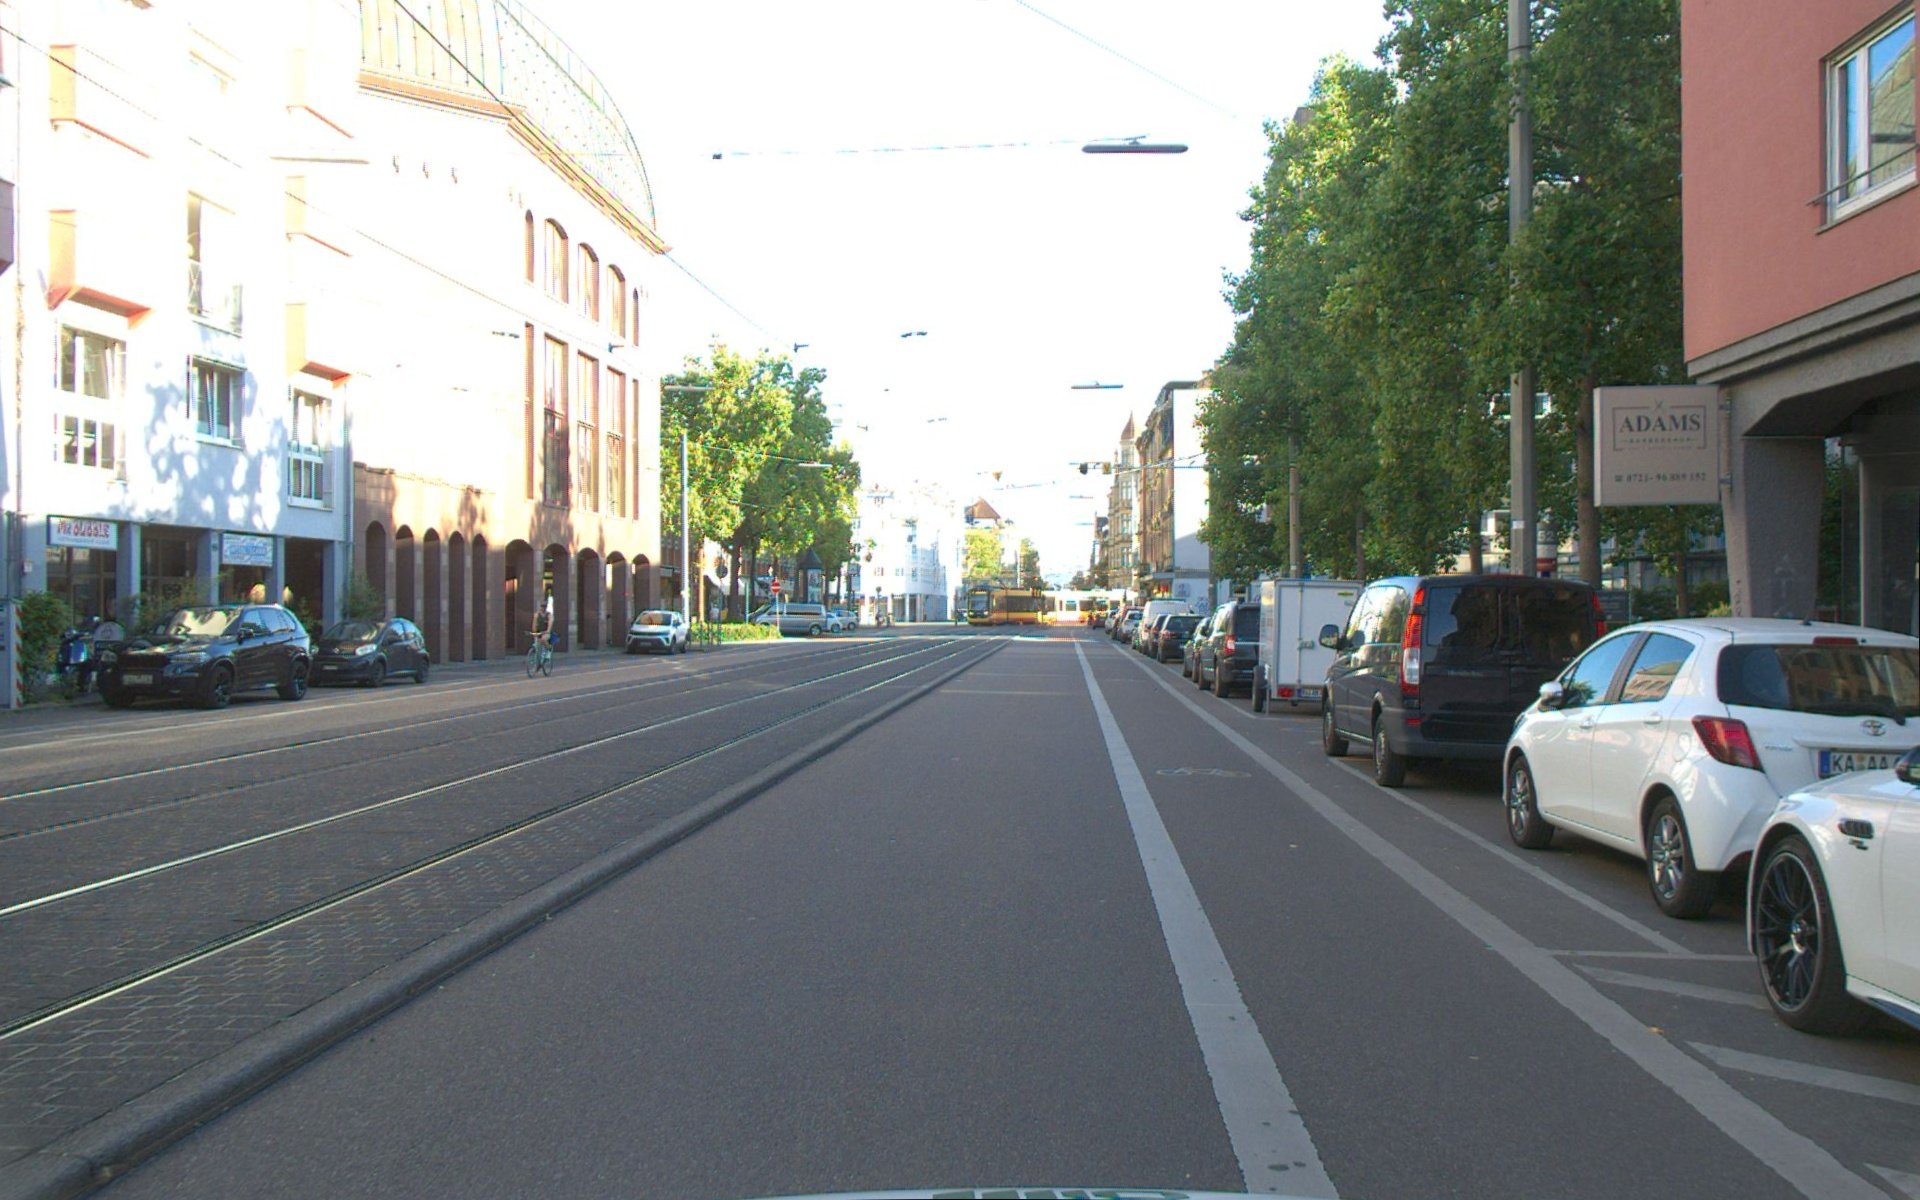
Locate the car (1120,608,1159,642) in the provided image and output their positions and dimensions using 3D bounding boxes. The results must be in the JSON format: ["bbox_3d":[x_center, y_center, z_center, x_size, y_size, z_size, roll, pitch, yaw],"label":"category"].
[{"bbox_3d":[8.731,1.206,80.638,1.687,1.595,4.084,0,-1,3],"label":"car"}]

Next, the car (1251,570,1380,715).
[{"bbox_3d":[5.705,0.687,26.901,1.669,2.157,3.709,1,-1,6],"label":"car"}]

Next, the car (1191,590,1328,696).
[{"bbox_3d":[5.718,0.800,32.179,1.909,1.819,5.183,2,-1,3],"label":"car"}]

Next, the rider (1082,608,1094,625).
[{"bbox_3d":[11.214,1.443,145.025,0.866,1.507,0.713,2,-1,23],"label":"rider"}]

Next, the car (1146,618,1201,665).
[{"bbox_3d":[7.199,1.387,56.075,1.587,1.499,3.972,1,-1,4],"label":"car"}]

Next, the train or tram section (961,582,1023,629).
[{"bbox_3d":[3.021,0.579,152.202,2.635,4.029,12.097,3,-1,15],"label":"train or tram section"}]

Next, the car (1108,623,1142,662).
[{"bbox_3d":[9.066,2.310,91.037,1.587,2.042,3.832,2,-1,3],"label":"car"}]

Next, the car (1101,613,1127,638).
[{"bbox_3d":[10.540,1.732,113.369,1.587,1.582,4.084,2,-1,3],"label":"car"}]

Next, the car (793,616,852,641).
[{"bbox_3d":[-10.014,2.052,120.466,3.823,1.656,1.859,3,-1,-27],"label":"car"}]

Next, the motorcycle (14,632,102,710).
[{"bbox_3d":[-14.895,1.151,27.366,0.658,1.226,2.134,2,-2,-13],"label":"motorcycle"}]

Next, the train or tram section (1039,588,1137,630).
[{"bbox_3d":[13.434,0.953,172.333,11.168,3.818,2.665,3,-1,-38],"label":"train or tram section"}]

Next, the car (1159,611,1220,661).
[{"bbox_3d":[7.000,1.080,50.707,1.587,1.457,3.986,1,-1,4],"label":"car"}]

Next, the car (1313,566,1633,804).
[{"bbox_3d":[4.777,0.726,16.193,1.914,1.901,4.991,2,-1,5],"label":"car"}]

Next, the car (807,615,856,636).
[{"bbox_3d":[-10.162,2.047,130.596,3.480,1.507,1.567,3,-1,-29],"label":"car"}]

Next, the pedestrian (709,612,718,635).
[{"bbox_3d":[-14.600,1.379,97.927,0.356,1.367,0.481,3,-1,-16],"label":"pedestrian"}]

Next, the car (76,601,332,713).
[{"bbox_3d":[-13.143,0.989,29.152,2.047,1.743,4.820,2,-1,3],"label":"car"}]

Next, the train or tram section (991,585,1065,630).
[{"bbox_3d":[6.878,0.818,163.618,2.638,3.946,12.836,3,-1,24],"label":"train or tram section"}]

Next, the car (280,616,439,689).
[{"bbox_3d":[-13.061,1.121,36.191,1.830,1.476,3.586,2,-1,6],"label":"car"}]

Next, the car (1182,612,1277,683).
[{"bbox_3d":[6.208,1.049,38.548,1.680,1.452,4.677,1,0,3],"label":"car"}]

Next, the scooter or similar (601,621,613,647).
[{"bbox_3d":[-13.767,1.326,64.519,0.356,0.955,0.968,3,-1,-16],"label":"scooter or similar"}]

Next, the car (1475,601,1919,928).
[{"bbox_3d":[4.498,0.812,9.858,1.695,1.522,3.962,2,-1,2],"label":"car"}]

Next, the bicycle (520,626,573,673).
[{"bbox_3d":[-10.159,1.209,40.694,0.570,1.096,2.186,-1,-1,4],"label":"bicycle"}]

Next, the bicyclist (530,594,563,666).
[{"bbox_3d":[-10.168,0.741,40.681,0.559,1.742,0.746,-1,-1,3],"label":"bicyclist"}]

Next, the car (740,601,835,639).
[{"bbox_3d":[-10.547,1.229,101.188,5.193,2.078,2.396,3,-3,-29],"label":"car"}]

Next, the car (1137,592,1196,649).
[{"bbox_3d":[7.693,0.765,61.941,1.929,2.049,4.560,-1,-1,5],"label":"car"}]

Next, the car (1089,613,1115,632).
[{"bbox_3d":[12.050,1.907,140.144,2.022,1.413,4.227,3,-1,3],"label":"car"}]

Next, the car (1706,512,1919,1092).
[{"bbox_3d":[3.907,0.644,4.413,1.925,1.802,4.877,2,-1,5],"label":"car"}]

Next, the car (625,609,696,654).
[{"bbox_3d":[-11.385,1.192,63.173,1.831,1.628,4.254,1,0,1],"label":"car"}]
